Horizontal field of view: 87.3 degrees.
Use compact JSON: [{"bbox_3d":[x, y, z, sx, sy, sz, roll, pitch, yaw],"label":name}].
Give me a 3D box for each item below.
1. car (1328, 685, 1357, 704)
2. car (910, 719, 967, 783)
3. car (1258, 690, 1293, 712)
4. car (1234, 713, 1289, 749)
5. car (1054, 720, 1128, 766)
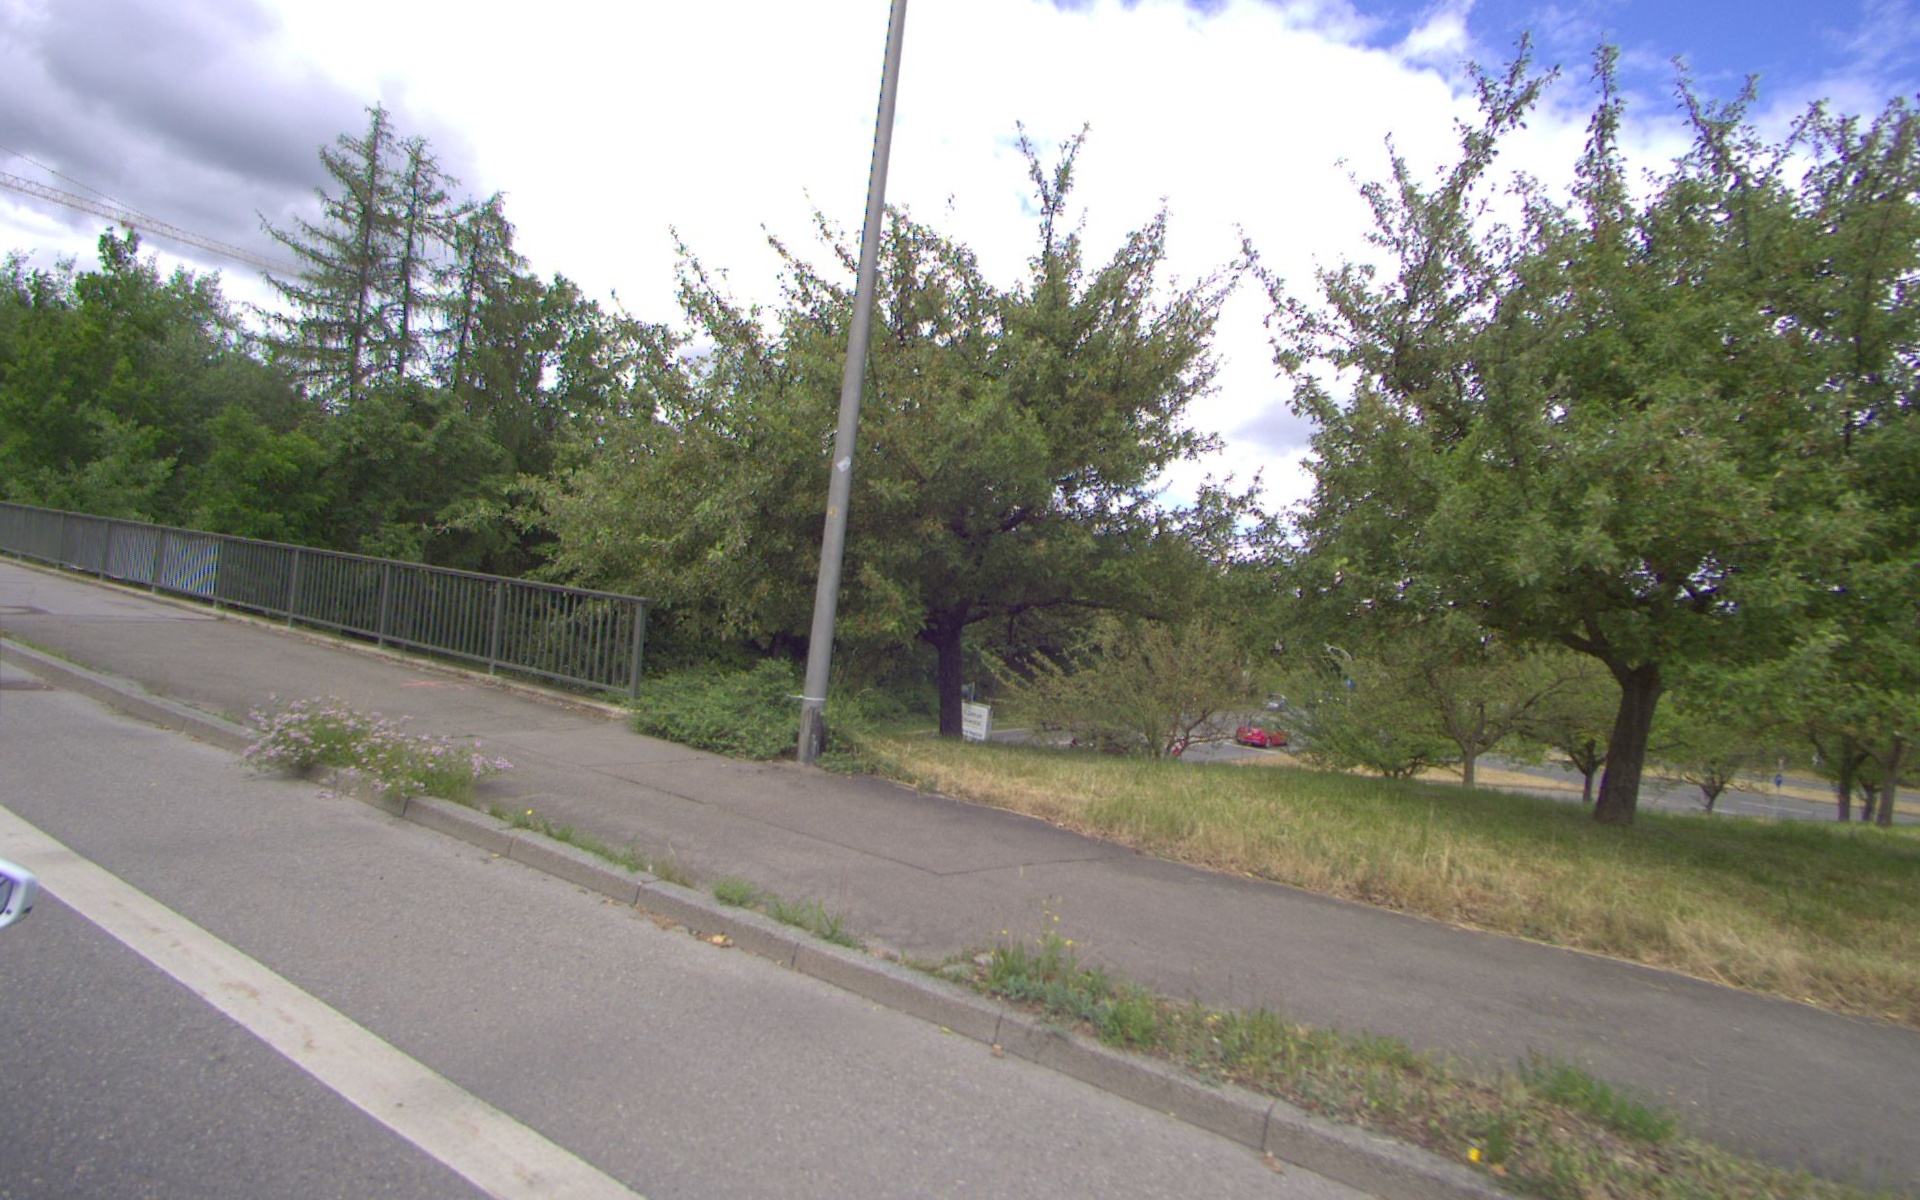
[{"bbox_3d":[38.789,9.582,101.896,1.655,1.560,4.057,8,2,35],"label":"car"},{"bbox_3d":[-0.883,5.816,39.174,1.653,1.560,3.848,9,2,-7],"label":"car"},{"bbox_3d":[26.878,8.577,85.666,1.655,1.560,3.842,8,2,35],"label":"car"},{"bbox_3d":[17.397,7.511,57.949,1.656,1.560,3.840,8,2,37],"label":"car"},{"bbox_3d":[6.077,6.535,46.327,1.655,1.560,3.842,8,2,35],"label":"car"}]
